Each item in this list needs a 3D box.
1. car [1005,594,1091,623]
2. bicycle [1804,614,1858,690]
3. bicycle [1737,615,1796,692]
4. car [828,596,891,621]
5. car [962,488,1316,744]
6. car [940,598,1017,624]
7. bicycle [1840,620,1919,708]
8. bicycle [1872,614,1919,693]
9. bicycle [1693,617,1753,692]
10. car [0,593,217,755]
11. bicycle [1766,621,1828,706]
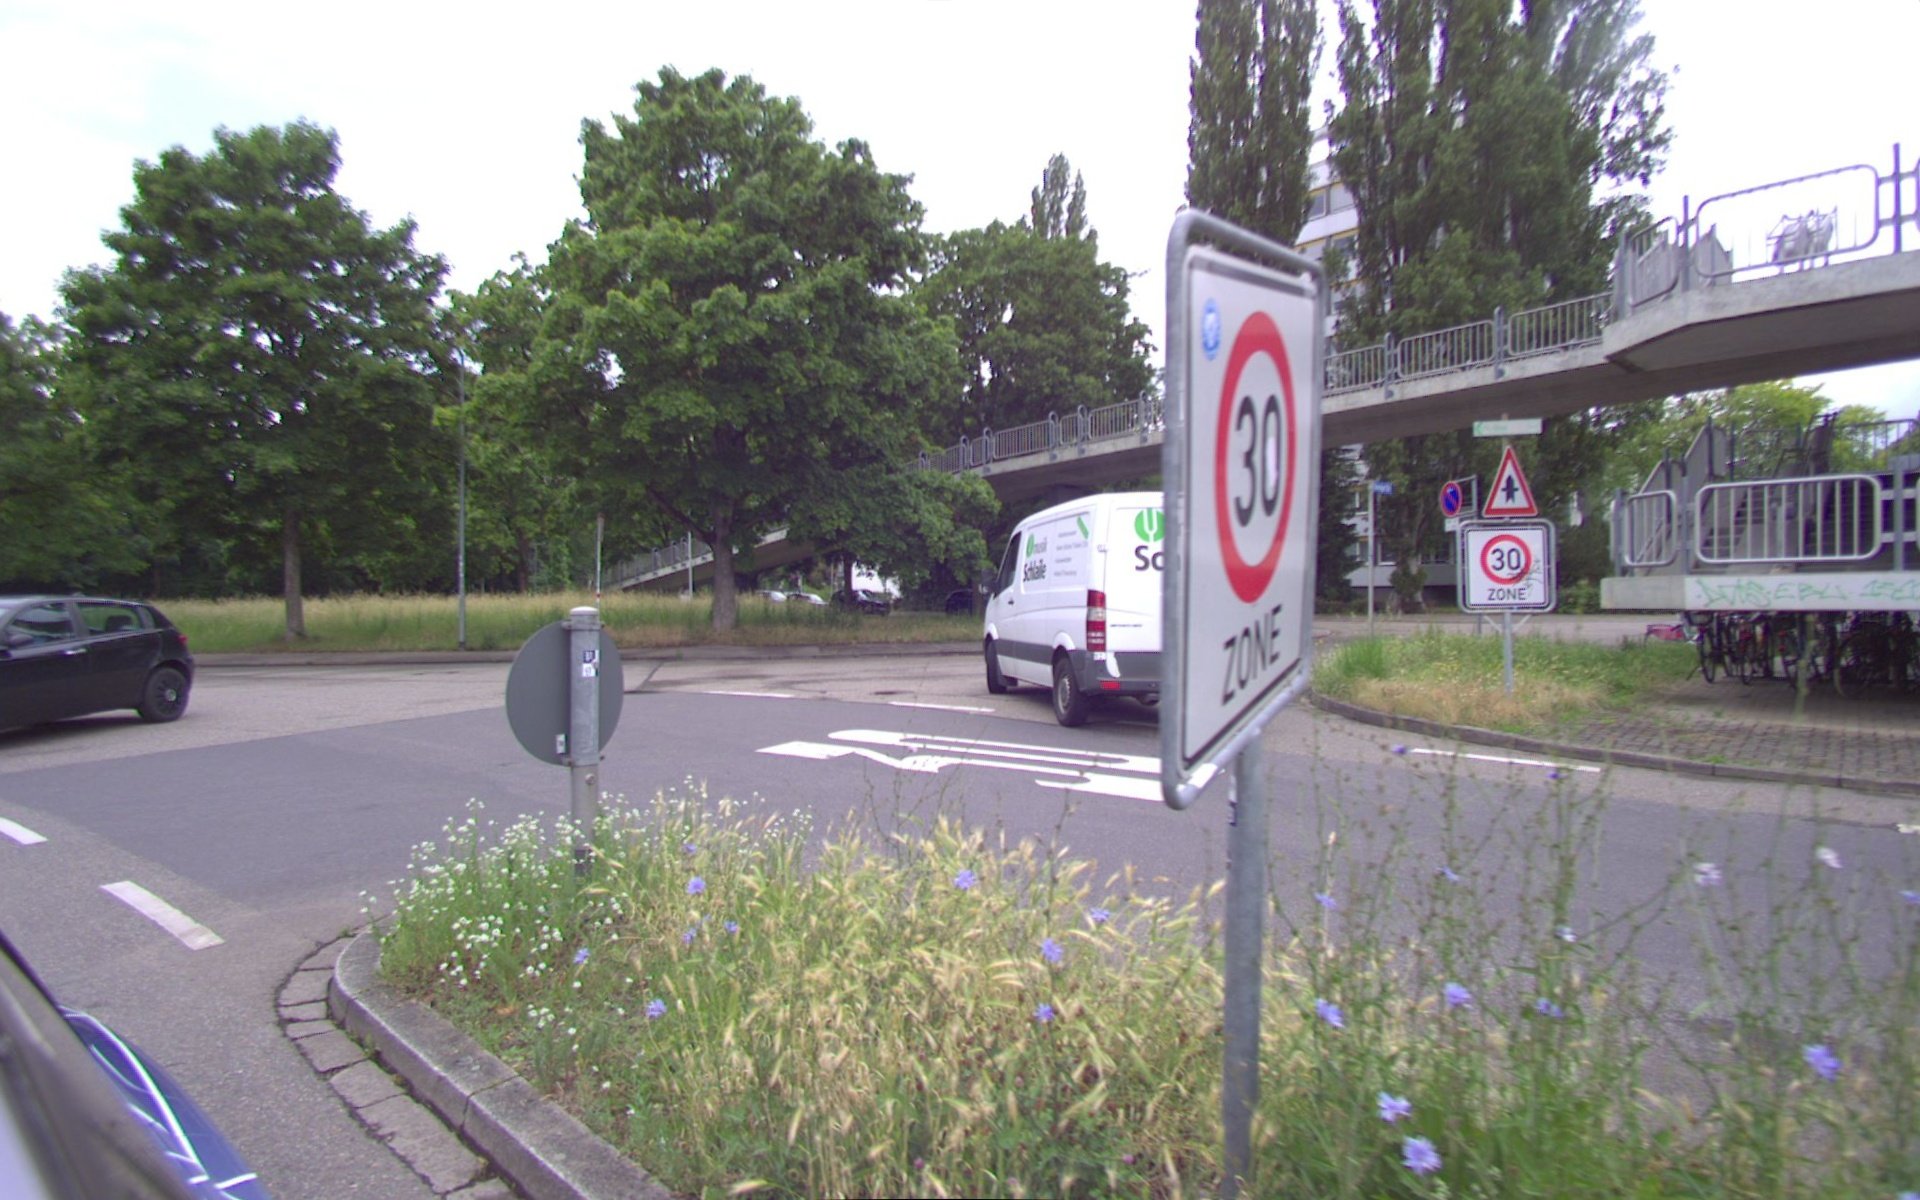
[{"bbox_3d":[4.057,0.383,47.182,1.667,1.256,4.007,-1,0,-39],"label":"car"},{"bbox_3d":[11.314,0.644,13.133,1.618,0.892,0.395,-1,0,-45],"label":"bicycle"},{"bbox_3d":[10.397,0.666,13.029,1.618,0.892,0.395,-1,0,-45],"label":"bicycle"},{"bbox_3d":[-5.826,0.454,58.413,1.667,1.361,4.007,-1,0,-39],"label":"car"},{"bbox_3d":[1.710,0.114,11.914,2.105,2.309,5.222,-1,0,-14],"label":"car"},{"bbox_3d":[0.884,0.540,50.879,1.667,1.247,4.007,-1,0,-39],"label":"car"},{"bbox_3d":[10.518,0.687,11.289,1.712,0.892,0.396,-1,0,-26],"label":"bicycle"},{"bbox_3d":[11.671,0.639,12.557,0.394,0.892,1.621,-1,0,38],"label":"bicycle"},{"bbox_3d":[10.049,0.689,13.311,1.618,0.892,0.395,-1,0,-45],"label":"bicycle"},{"bbox_3d":[-9.595,0.679,9.490,1.780,1.468,4.537,-1,0,3],"label":"car"},{"bbox_3d":[9.883,0.718,11.938,1.618,0.892,0.395,-1,0,-45],"label":"bicycle"}]
